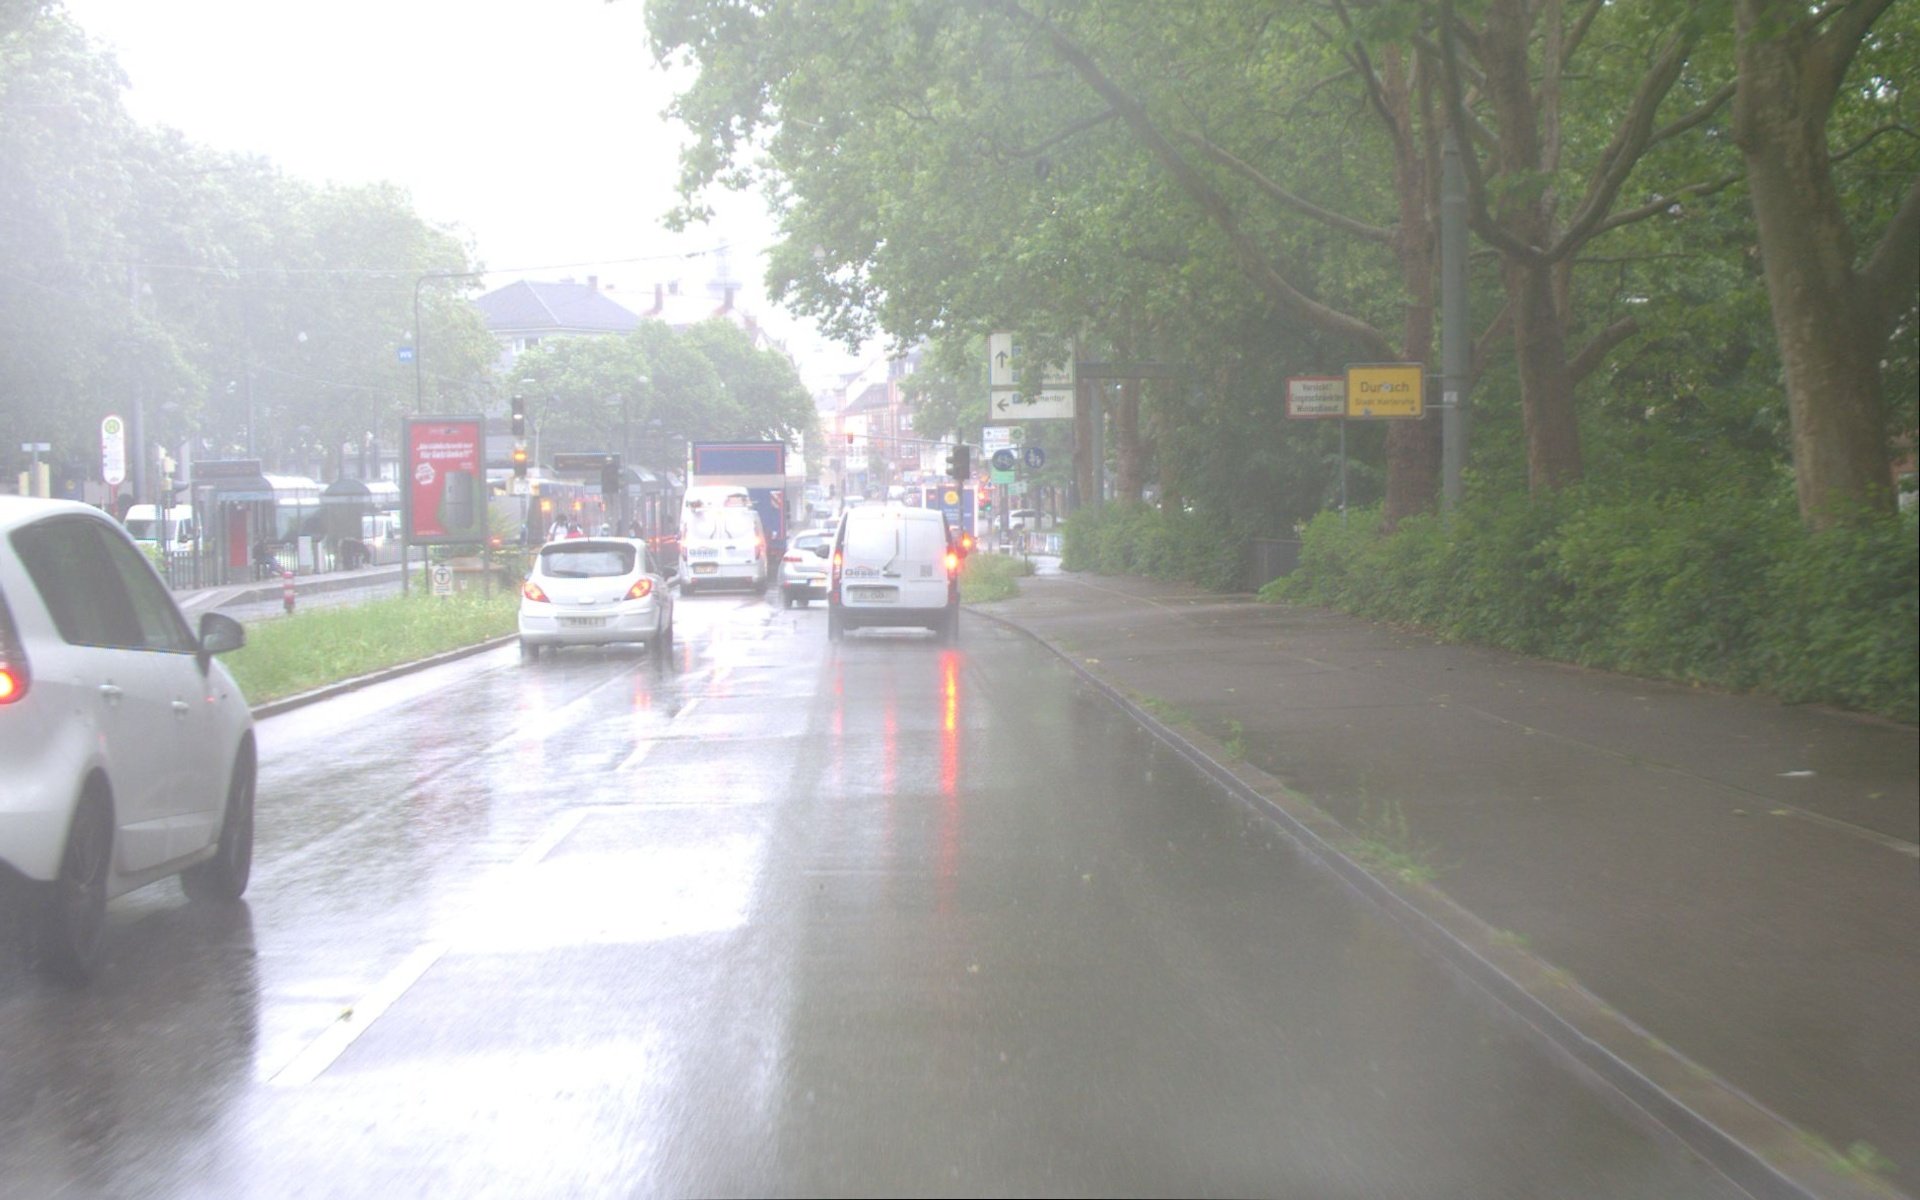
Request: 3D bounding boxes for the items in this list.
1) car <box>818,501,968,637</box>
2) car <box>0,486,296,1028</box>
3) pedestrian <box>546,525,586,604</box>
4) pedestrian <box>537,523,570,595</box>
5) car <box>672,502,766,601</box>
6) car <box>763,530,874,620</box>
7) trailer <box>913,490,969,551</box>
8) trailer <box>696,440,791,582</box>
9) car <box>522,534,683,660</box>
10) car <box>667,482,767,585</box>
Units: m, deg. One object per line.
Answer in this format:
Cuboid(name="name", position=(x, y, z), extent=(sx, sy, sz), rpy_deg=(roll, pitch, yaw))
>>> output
Cuboid(name="car", position=(-0.944, -0.420, 46.752), extent=(1.959, 1.771, 3.570), rpy_deg=(0, 0, -2))
Cuboid(name="car", position=(-3.746, 0.437, 12.379), extent=(1.865, 1.618, 4.263), rpy_deg=(0, 1, 0))
Cuboid(name="pedestrian", position=(-8.625, -0.776, 75.272), extent=(0.790, 1.708, 0.771), rpy_deg=(1, 0, -3))
Cuboid(name="pedestrian", position=(-9.935, -1.006, 84.015), extent=(0.715, 1.738, 0.751), rpy_deg=(-1, 1, -3))
Cuboid(name="car", position=(-5.600, -1.112, 80.499), extent=(1.993, 2.254, 5.289), rpy_deg=(0, 0, -2))
Cuboid(name="car", position=(-2.585, -0.454, 63.530), extent=(1.908, 1.612, 4.000), rpy_deg=(0, 0, -1))
Cuboid(name="trailer", position=(-0.759, -3.131, 136.042), extent=(1.993, 2.309, 4.669), rpy_deg=(0, 0, -3))
Cuboid(name="trailer", position=(-6.165, -2.530, 98.142), extent=(2.590, 3.886, 7.637), rpy_deg=(0, 1, -3))
Cuboid(name="car", position=(-4.347, -0.045, 42.241), extent=(1.725, 1.474, 3.806), rpy_deg=(0, 0, -2))
Cuboid(name="car", position=(-6.246, -1.681, 88.988), extent=(2.329, 2.548, 6.115), rpy_deg=(0, 0, -2))
